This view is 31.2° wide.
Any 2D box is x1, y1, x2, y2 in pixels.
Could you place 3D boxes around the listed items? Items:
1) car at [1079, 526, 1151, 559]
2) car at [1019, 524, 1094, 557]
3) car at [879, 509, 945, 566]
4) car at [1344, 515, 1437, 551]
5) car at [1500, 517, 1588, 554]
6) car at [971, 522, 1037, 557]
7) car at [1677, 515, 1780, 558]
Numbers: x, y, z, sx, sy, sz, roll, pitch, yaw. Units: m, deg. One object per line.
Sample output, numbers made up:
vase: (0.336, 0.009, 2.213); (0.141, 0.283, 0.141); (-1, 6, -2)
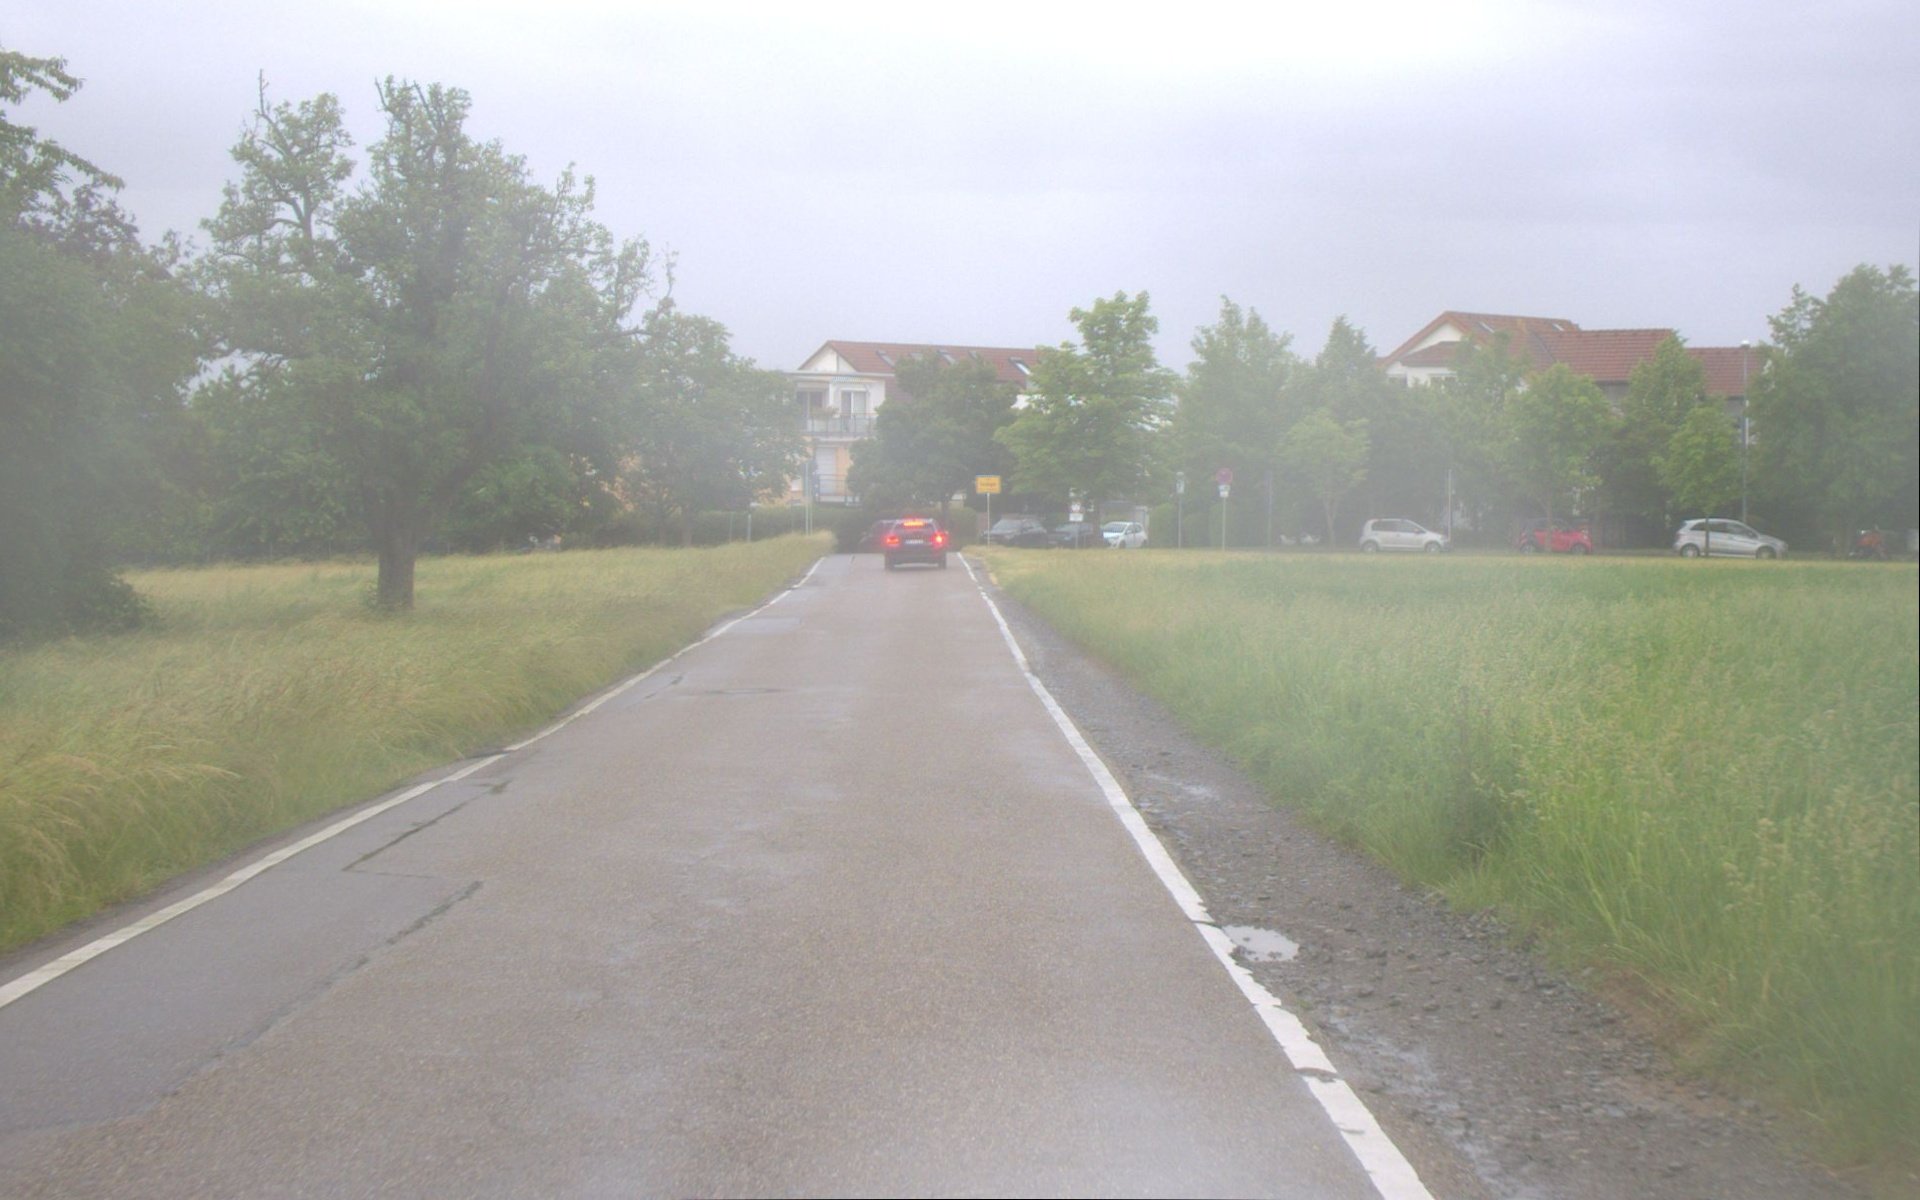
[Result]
car: (7.658, -2.830, 169.479); (1.664, 1.541, 3.992); (0, 0, 35)
car: (4.635, -2.852, 165.229); (1.664, 1.541, 3.992); (0, 0, 35)
car: (-1.373, -1.794, 99.572); (1.814, 1.588, 4.000); (0, 0, 0)
car: (16.513, -2.562, 131.713); (3.392, 1.366, 1.547); (0, 0, 13)
car: (22.135, -2.435, 130.263); (3.194, 1.366, 1.571); (0, 0, 13)
car: (2.066, -2.825, 160.601); (1.663, 1.541, 3.995); (0, 0, 24)
car: (28.748, -2.380, 128.624); (3.711, 1.558, 1.609); (0, 0, 13)
